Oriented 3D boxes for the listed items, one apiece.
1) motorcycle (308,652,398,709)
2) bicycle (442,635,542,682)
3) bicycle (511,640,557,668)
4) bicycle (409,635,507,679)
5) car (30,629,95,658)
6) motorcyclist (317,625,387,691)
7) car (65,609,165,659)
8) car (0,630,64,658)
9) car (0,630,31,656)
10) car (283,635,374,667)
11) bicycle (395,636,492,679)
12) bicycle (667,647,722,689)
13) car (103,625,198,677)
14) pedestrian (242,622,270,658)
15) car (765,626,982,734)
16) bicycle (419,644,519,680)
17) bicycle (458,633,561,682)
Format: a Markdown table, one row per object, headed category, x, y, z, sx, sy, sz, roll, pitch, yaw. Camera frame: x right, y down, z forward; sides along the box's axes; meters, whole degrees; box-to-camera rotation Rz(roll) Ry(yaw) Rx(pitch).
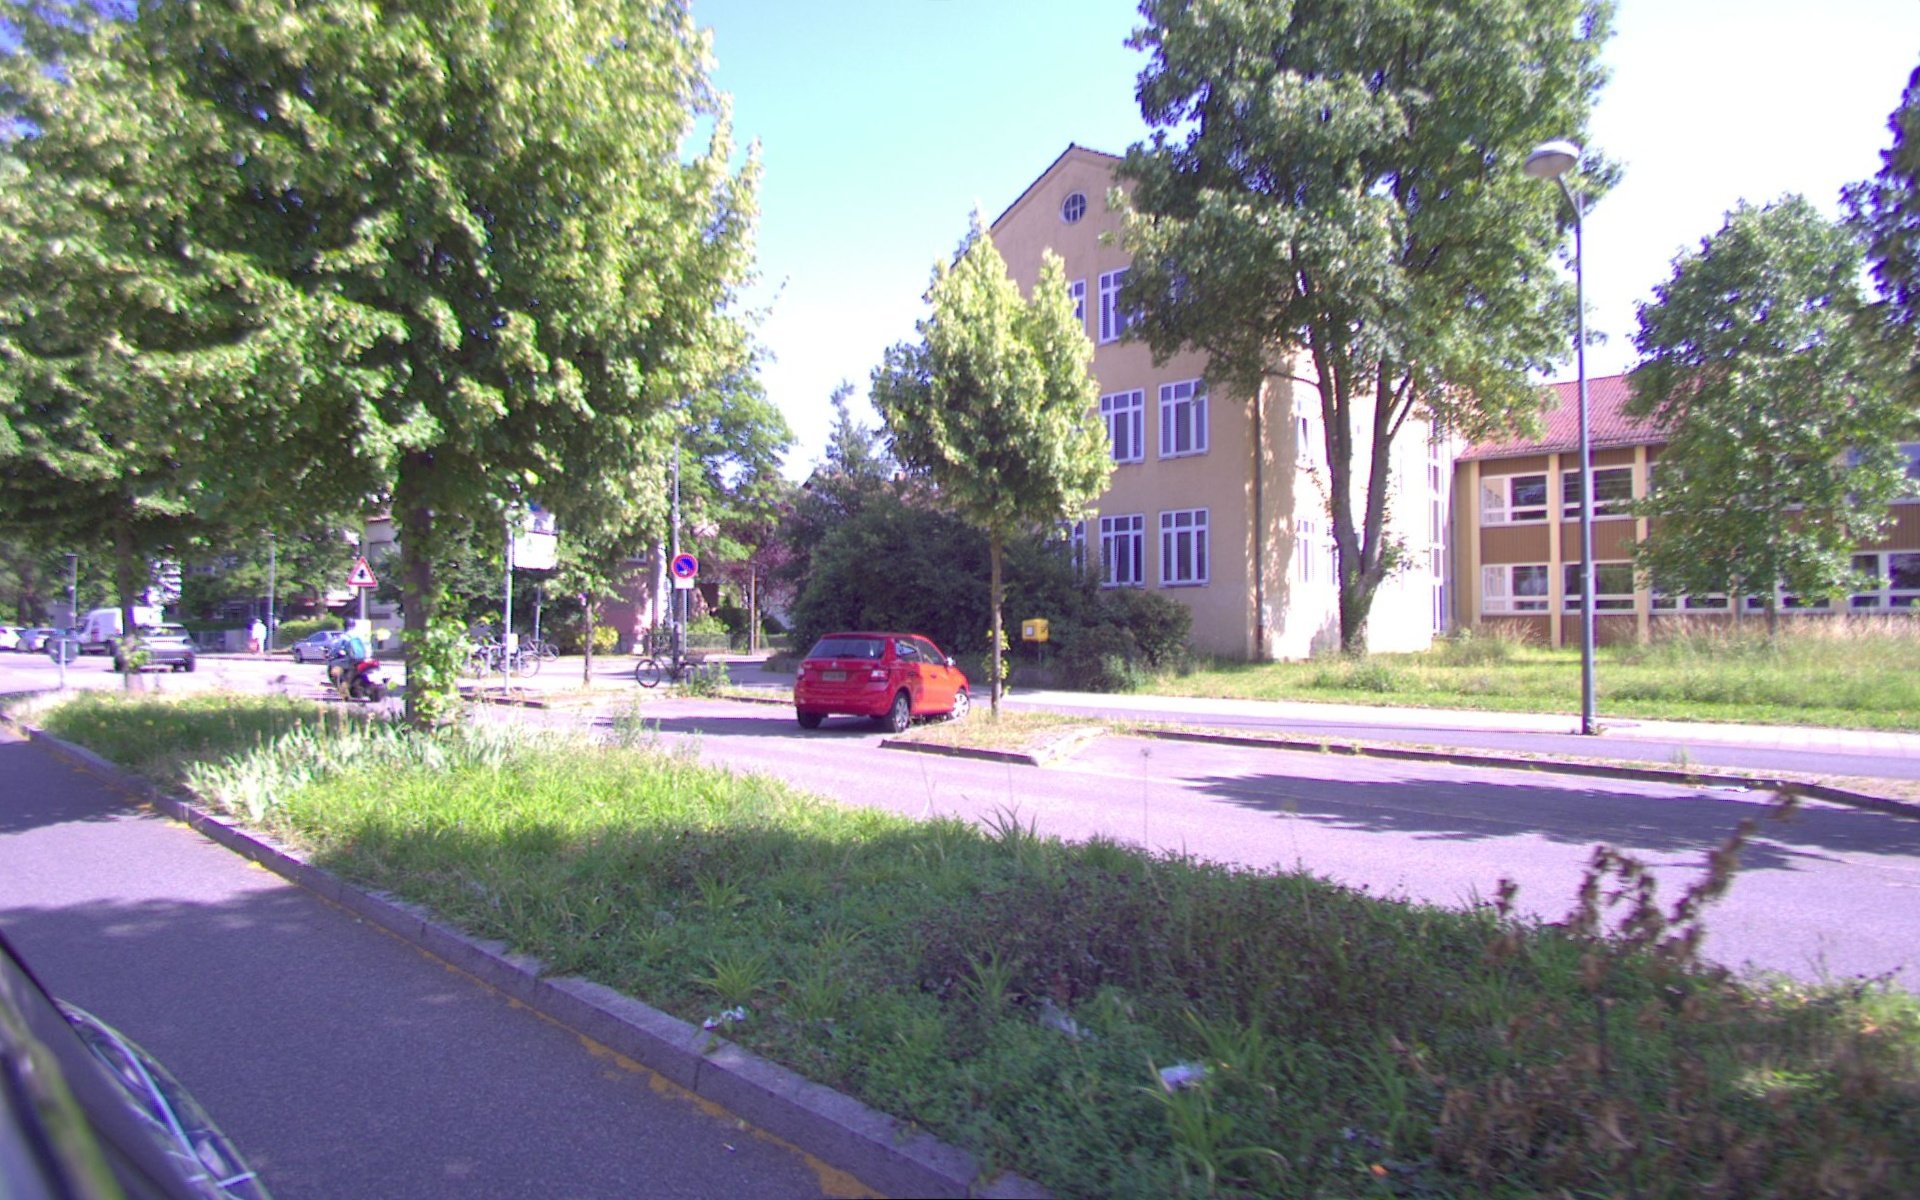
| category | x | y | z | sx | sy | sz | roll | pitch | yaw |
| --- | --- | --- | --- | --- | --- | --- | --- | --- | --- |
| motorcycle | -11.869 | 1.533 | 19.761 | 2.234 | 1.000 | 0.913 | -2 | -2 | 42 |
| bicycle | -13.179 | 1.642 | 28.598 | 0.738 | 1.266 | 2.490 | -2 | -4 | 38 |
| bicycle | -17.358 | 2.197 | 41.227 | 1.689 | 1.089 | 0.378 | 0 | -2 | -8 |
| bicycle | -14.911 | 1.686 | 30.151 | 0.738 | 1.249 | 2.519 | -2 | -4 | 38 |
| car | -49.871 | 2.427 | 56.206 | 3.989 | 1.571 | 1.706 | -2 | -4 | 34 |
| motorcyclist | -11.892 | 1.112 | 19.790 | 1.061 | 1.230 | 0.891 | -2 | -2 | 42 |
| car | -44.609 | 1.855 | 53.403 | 5.929 | 2.516 | 2.074 | -2 | -4 | 30 |
| car | -54.068 | 2.560 | 58.902 | 4.659 | 1.571 | 1.706 | -2 | -4 | 34 |
| car | -59.074 | 2.671 | 62.370 | 3.989 | 1.571 | 1.706 | -2 | -4 | 34 |
| car | -26.203 | 2.114 | 41.950 | 3.989 | 1.276 | 1.706 | -2 | -4 | 34 |
| bicycle | -15.691 | 1.750 | 30.825 | 0.738 | 1.266 | 2.519 | -2 | -4 | 38 |
| bicycle | -6.029 | 1.525 | 22.968 | 1.268 | 0.910 | 0.516 | -1 | -3 | 37 |
| car | -25.860 | 1.591 | 32.287 | 4.072 | 1.559 | 1.722 | -1 | -3 | 42 |
| pedestrian | -35.790 | 2.011 | 51.455 | 0.724 | 1.793 | 0.964 | -2 | -2 | 37 |
| car | -1.219 | 1.213 | 16.166 | 1.985 | 1.478 | 3.973 | -1 | -3 | 20 |
| bicycle | -14.141 | 1.789 | 29.209 | 0.738 | 0.995 | 2.519 | -2 | -4 | 38 |
| bicycle | -12.340 | 1.549 | 27.817 | 0.738 | 1.266 | 2.520 | -2 | -2 | 38 |
